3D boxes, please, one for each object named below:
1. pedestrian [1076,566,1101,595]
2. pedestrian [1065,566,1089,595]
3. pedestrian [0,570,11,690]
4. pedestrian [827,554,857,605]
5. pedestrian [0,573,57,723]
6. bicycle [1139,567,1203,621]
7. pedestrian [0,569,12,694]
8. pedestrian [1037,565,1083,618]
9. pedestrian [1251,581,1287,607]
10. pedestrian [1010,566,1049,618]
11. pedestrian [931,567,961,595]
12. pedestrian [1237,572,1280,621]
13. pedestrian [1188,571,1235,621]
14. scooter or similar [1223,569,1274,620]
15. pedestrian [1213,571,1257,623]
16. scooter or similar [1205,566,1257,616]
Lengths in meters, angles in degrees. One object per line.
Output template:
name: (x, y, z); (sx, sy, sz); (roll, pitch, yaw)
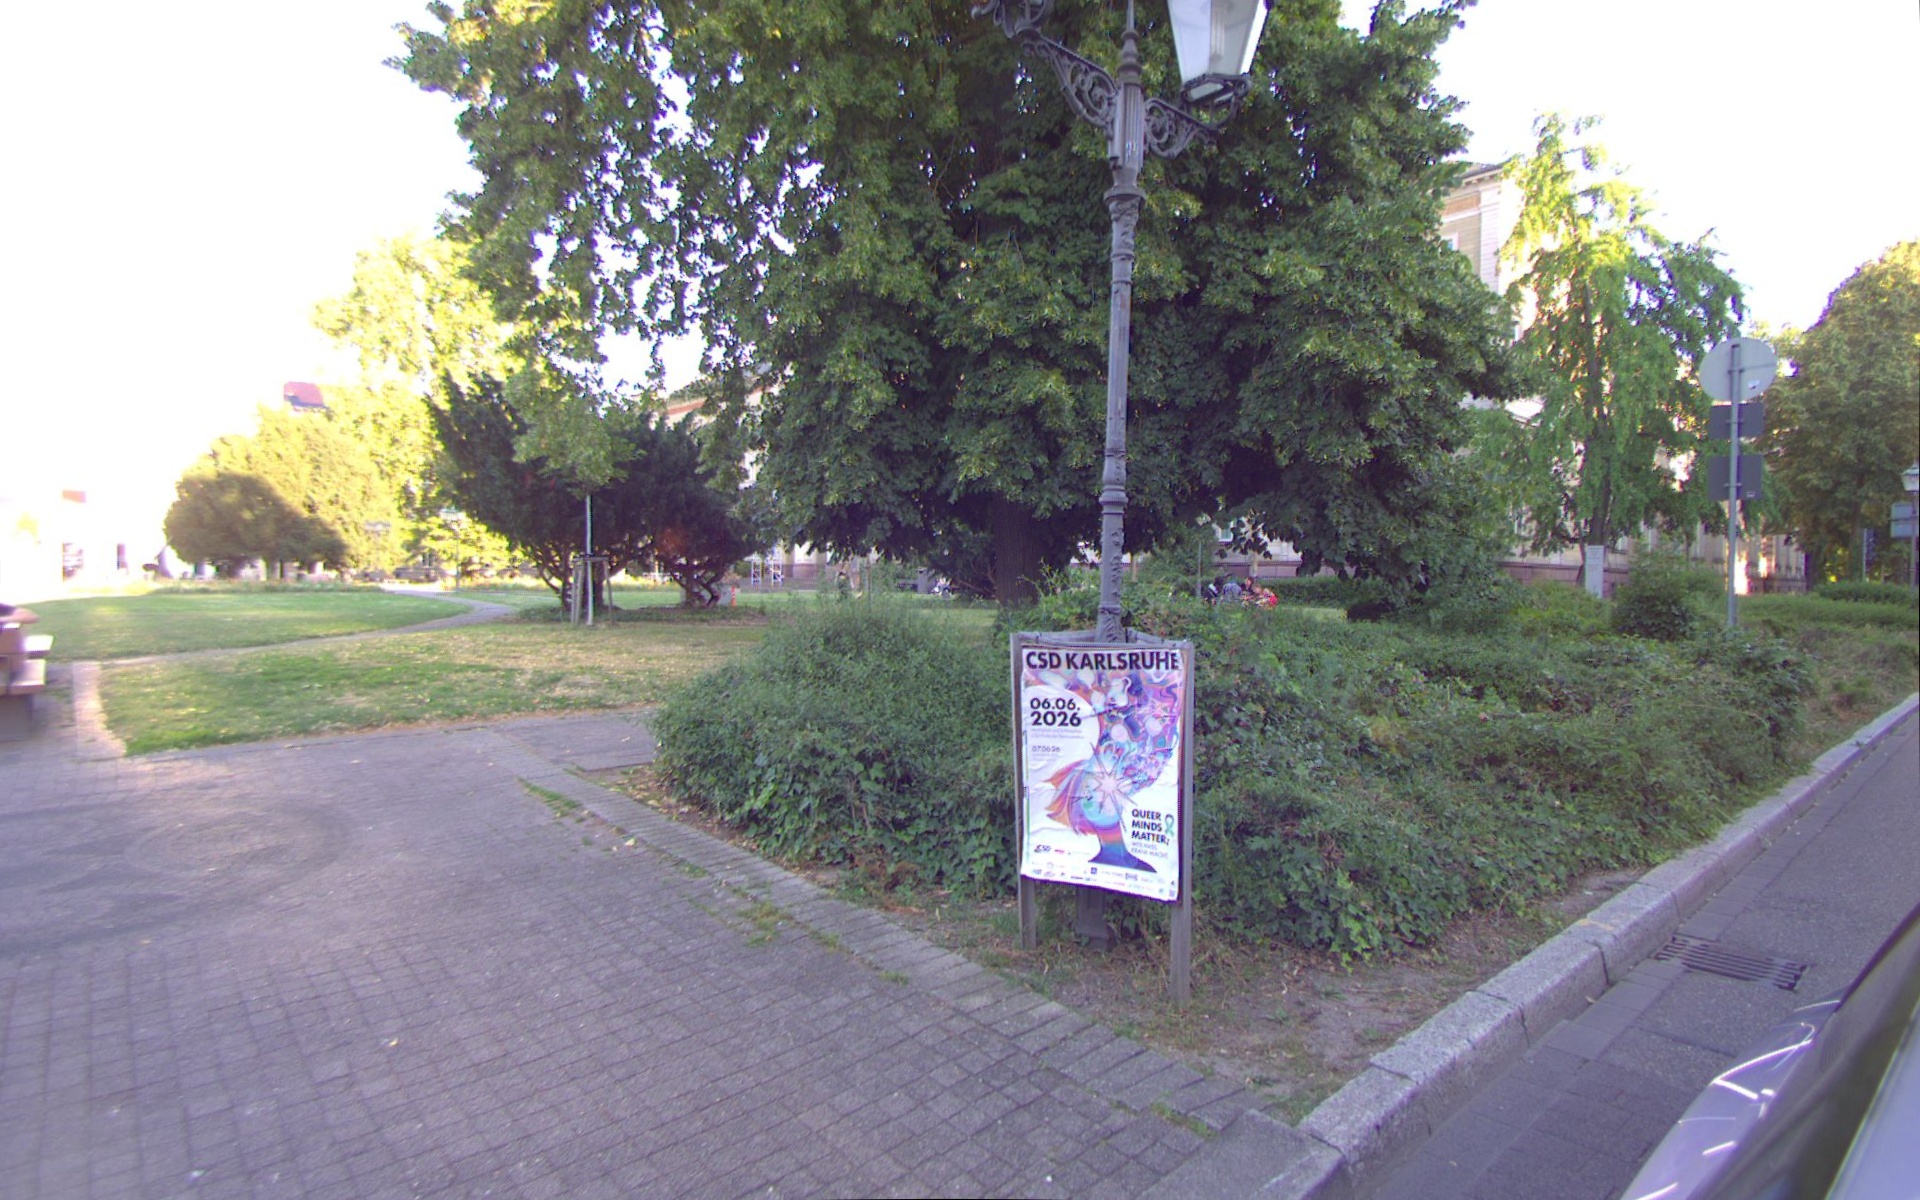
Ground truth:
pedestrian: (6.358, -0.977, 50.176); (1.026, 1.414, 0.695); (0, 2, -41)
pedestrian: (5.889, -0.981, 50.941); (1.026, 1.414, 0.695); (0, 2, -41)
pedestrian: (-11.374, 0.342, 11.519); (0.596, 1.358, 0.806); (2, 2, 43)
pedestrian: (-4.227, -0.737, 36.204); (0.746, 1.769, 0.771); (-1, 2, -44)
pedestrian: (-8.393, 0.399, 8.632); (0.675, 1.253, 0.813); (1, 1, 19)
bicycle: (5.427, -0.170, 25.919); (0.619, 1.316, 1.987); (2, 2, 44)
pedestrian: (-10.918, 0.342, 11.043); (0.596, 1.358, 0.806); (2, 2, 43)
pedestrian: (2.674, -0.236, 27.006); (0.913, 1.364, 0.874); (2, 2, 34)
pedestrian: (7.506, -0.160, 24.549); (0.537, 0.556, 1.364); (5, 4, 29)
pedestrian: (1.885, -0.224, 27.386); (0.756, 1.364, 0.779); (2, 2, 33)
pedestrian: (-0.819, -1.088, 58.641); (1.540, 1.575, 0.801); (-1, 2, -41)
pedestrian: (7.498, -0.093, 25.439); (0.778, 1.206, 0.666); (0, 2, -13)
pedestrian: (6.227, -0.114, 25.076); (0.775, 1.206, 0.809); (0, 2, -38)
scooter or similar: (7.497, -0.156, 26.308); (1.213, 1.261, 0.413); (2, 2, 37)
pedestrian: (6.627, -0.077, 24.395); (0.733, 1.206, 0.724); (0, 2, -38)
scooter or similar: (6.961, -0.238, 26.048); (1.212, 1.261, 0.413); (2, 2, 34)
